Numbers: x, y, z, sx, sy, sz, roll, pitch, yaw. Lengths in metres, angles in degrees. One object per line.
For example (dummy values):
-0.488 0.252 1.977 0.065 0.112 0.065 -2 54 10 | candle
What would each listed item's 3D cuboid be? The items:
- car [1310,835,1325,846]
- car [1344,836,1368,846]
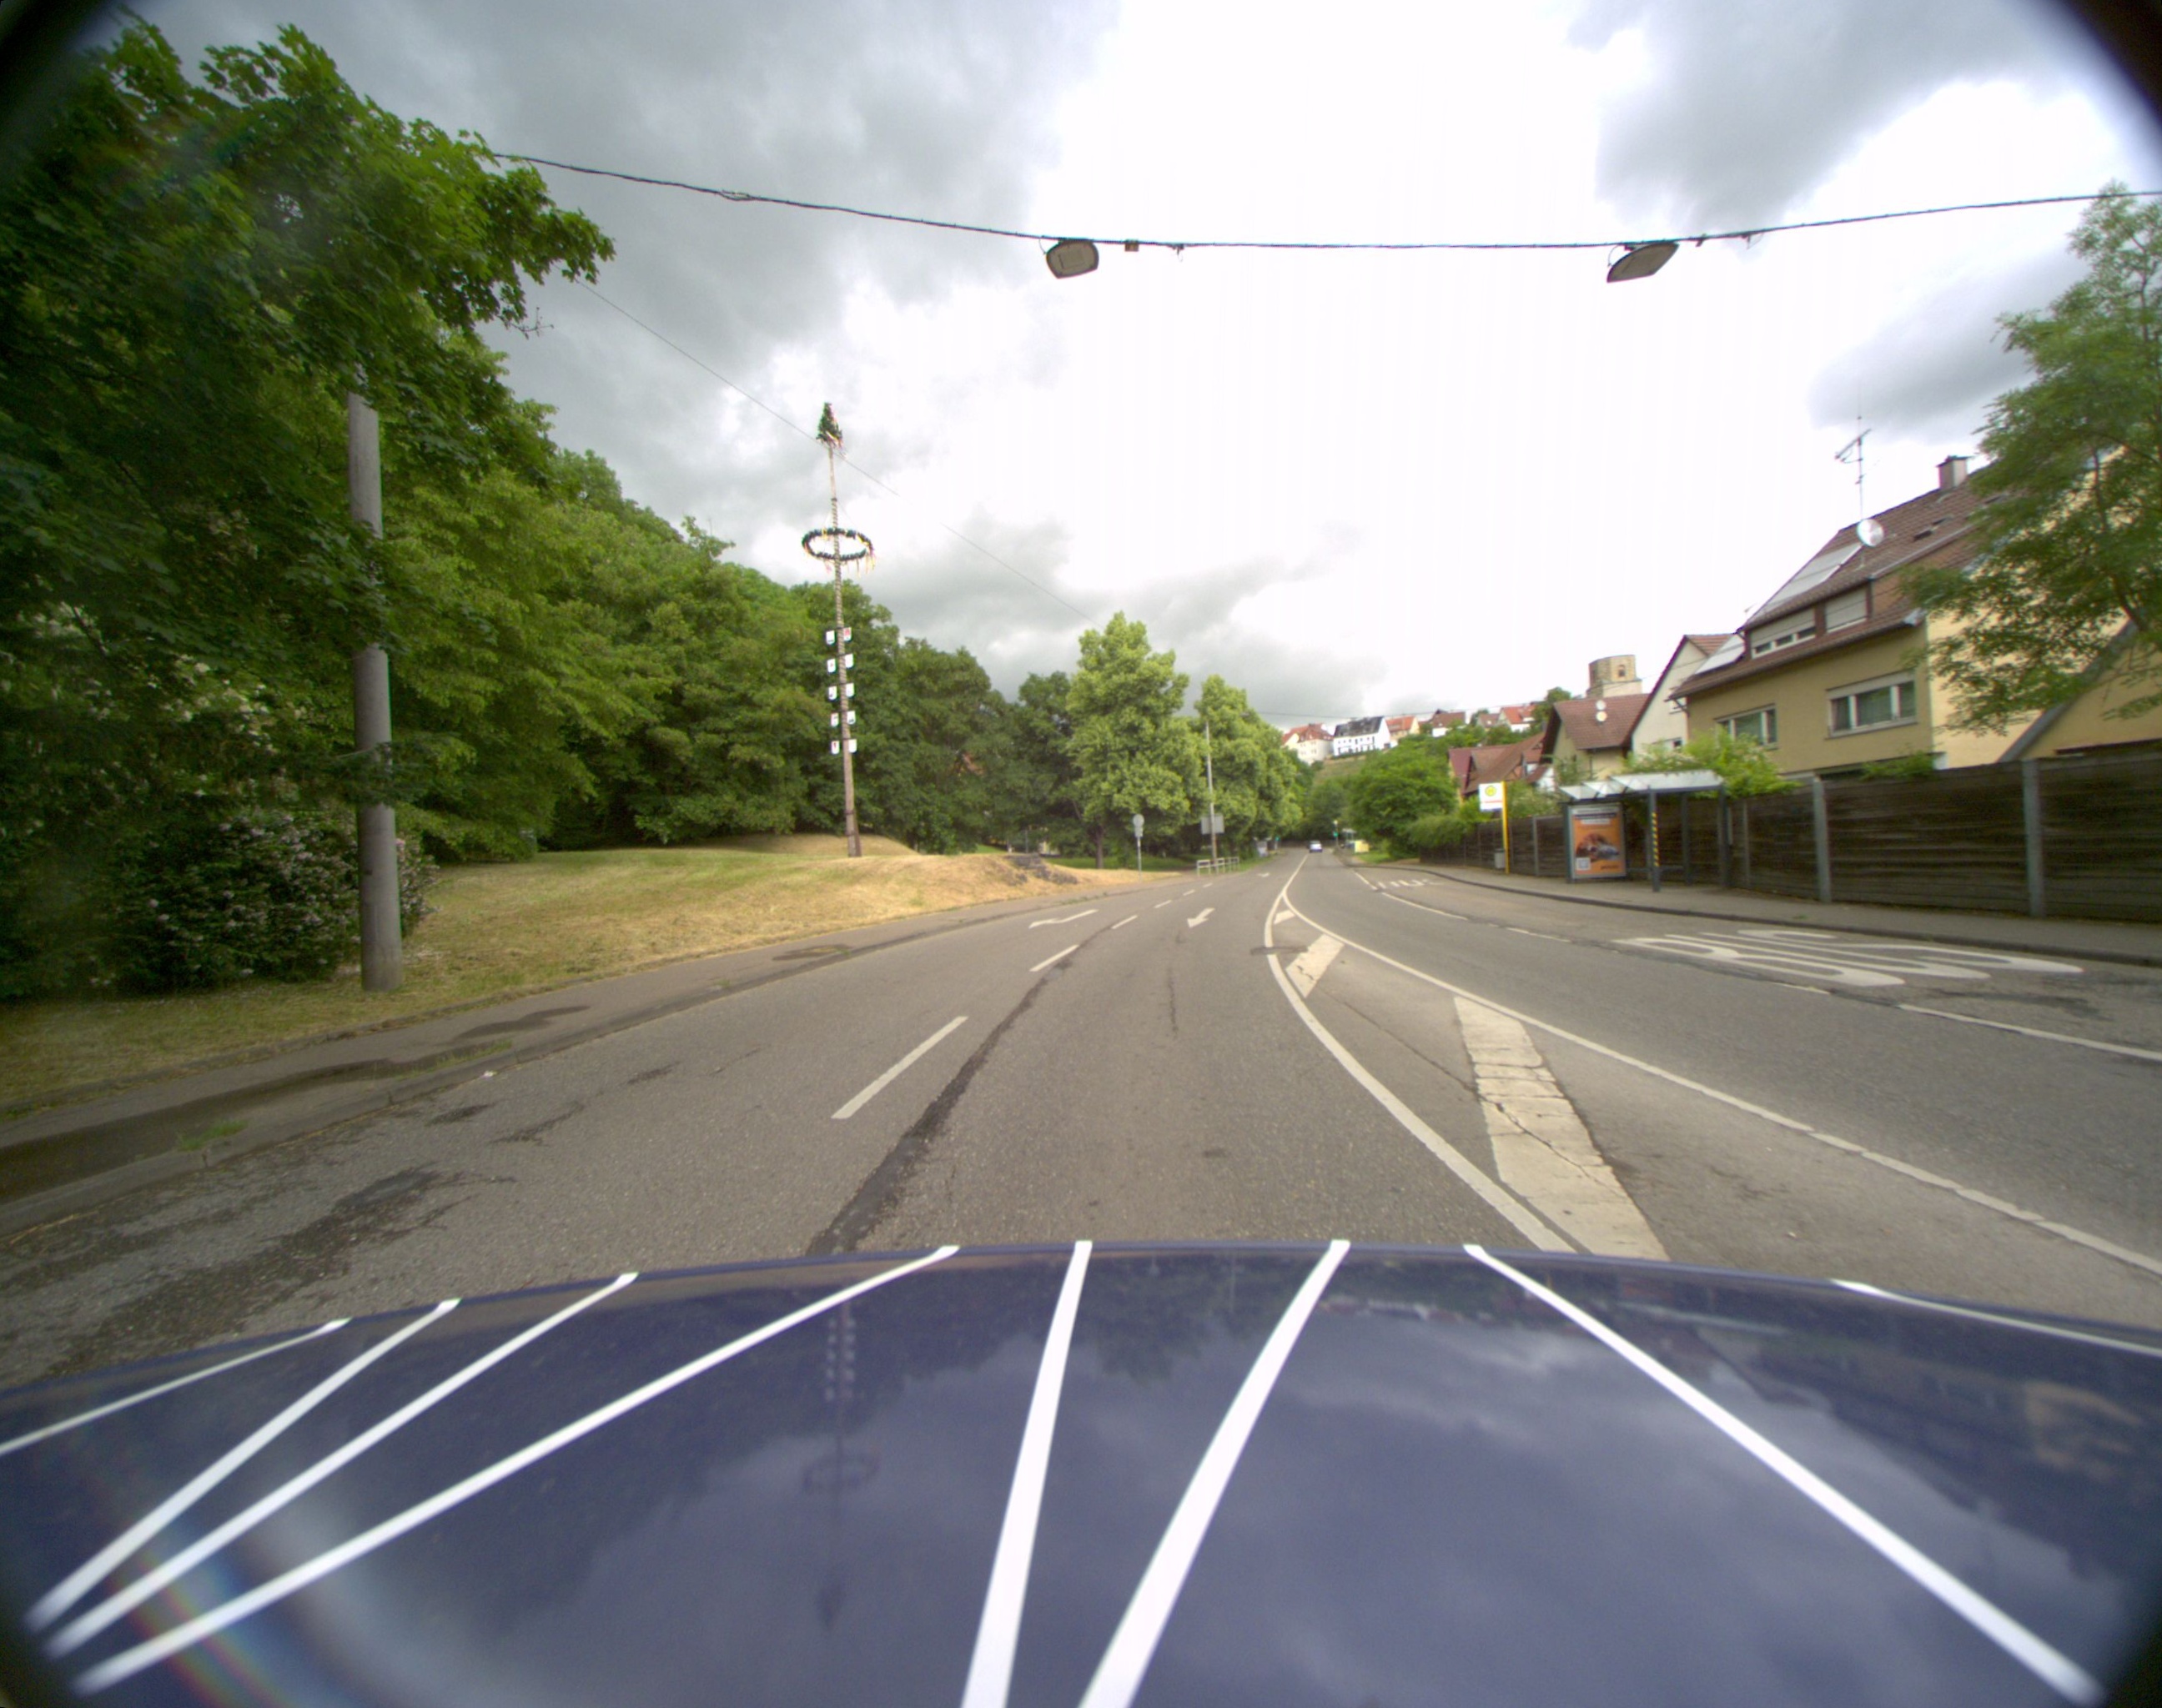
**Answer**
36.538 -2.026 117.481 1.996 1.608 4.004 -2 0 14 | car
44.998 -2.134 124.339 3.675 1.575 1.767 -2 1 20 | car
